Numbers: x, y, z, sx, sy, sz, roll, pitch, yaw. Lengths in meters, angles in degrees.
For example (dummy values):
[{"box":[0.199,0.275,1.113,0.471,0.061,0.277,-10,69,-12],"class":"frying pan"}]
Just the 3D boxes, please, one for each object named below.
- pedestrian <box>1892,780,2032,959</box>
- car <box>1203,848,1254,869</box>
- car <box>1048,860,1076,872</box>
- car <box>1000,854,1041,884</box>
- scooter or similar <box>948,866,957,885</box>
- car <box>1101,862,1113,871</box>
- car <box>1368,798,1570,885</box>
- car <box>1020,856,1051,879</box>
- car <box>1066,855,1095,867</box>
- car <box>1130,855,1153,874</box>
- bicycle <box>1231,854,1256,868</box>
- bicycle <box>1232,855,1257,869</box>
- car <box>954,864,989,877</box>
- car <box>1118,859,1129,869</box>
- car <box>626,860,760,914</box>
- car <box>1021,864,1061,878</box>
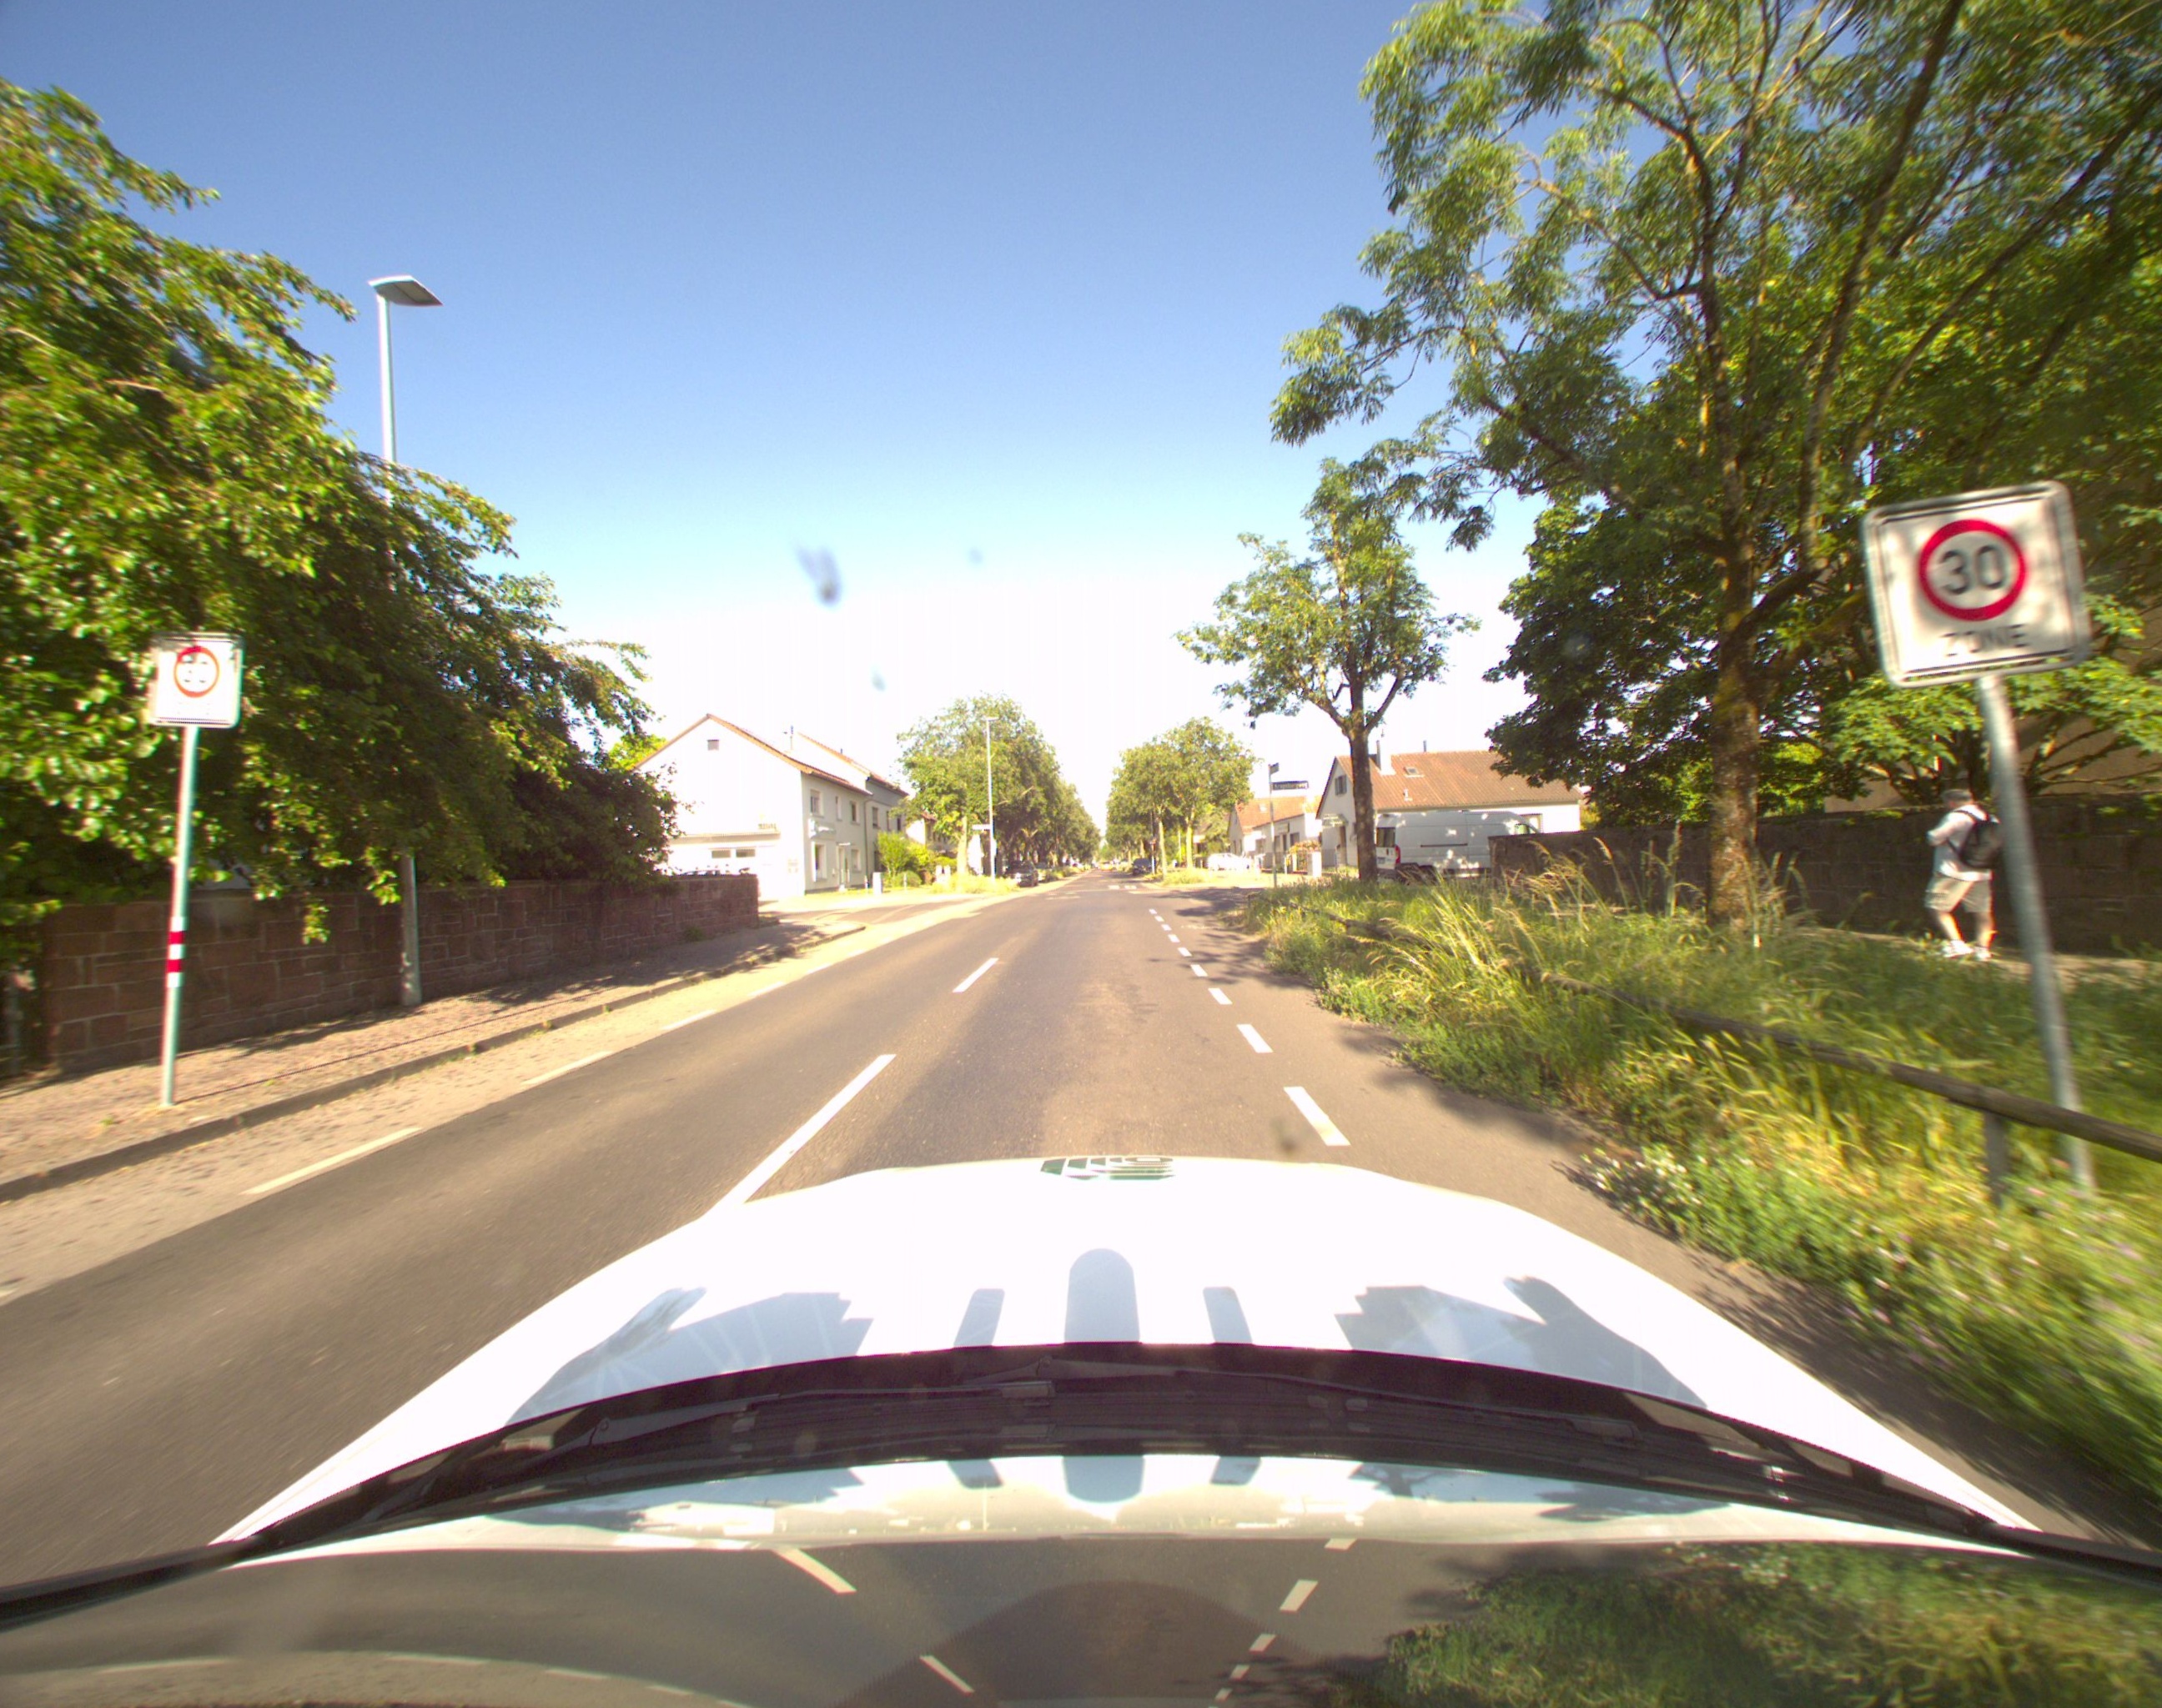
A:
[{"box":[8.917,0.146,8.268,0.635,1.705,0.612,-5,1,0],"class":"pedestrian"},{"box":[12.661,0.366,69.892,3.974,1.488,1.902,-4,1,0],"class":"car"},{"box":[-3.108,1.960,132.678,4.536,1.765,1.998,-1,1,-4],"class":"car"},{"box":[-3.724,0.969,50.933,1.945,1.727,4.878,-1,-2,3],"class":"car"},{"box":[-7.058,1.161,44.709,0.334,1.001,0.997,-3,-1,-2],"class":"scooter or similar"},{"box":[4.298,1.990,134.038,1.881,1.479,3.888,0,-1,1],"class":"car"},{"box":[12.755,-0.405,27.077,5.578,2.539,2.265,-3,0,-1],"class":"car"},{"box":[-3.472,1.052,62.561,1.931,1.609,4.386,-1,-2,3],"class":"car"},{"box":[-0.091,1.437,160.590,5.481,2.247,2.516,-1,1,0],"class":"car"},{"box":[5.769,1.052,78.229,1.846,1.626,4.470,-4,-1,1],"class":"car"},{"box":[13.554,0.597,67.809,1.917,0.998,0.576,-4,1,0],"class":"bicycle"},{"box":[13.418,0.614,66.821,1.952,0.998,0.576,-4,1,0],"class":"bicycle"},{"box":[-15.074,2.313,112.112,4.543,1.618,1.998,-1,1,-3],"class":"car"},{"box":[7.835,1.848,151.315,1.895,1.774,4.303,-1,-1,2],"class":"car"},{"box":[-15.996,1.345,33.780,4.477,1.837,1.999,-3,2,-2],"class":"car"},{"box":[-4.663,2.002,95.181,4.538,1.511,1.842,-1,1,1],"class":"car"}]
